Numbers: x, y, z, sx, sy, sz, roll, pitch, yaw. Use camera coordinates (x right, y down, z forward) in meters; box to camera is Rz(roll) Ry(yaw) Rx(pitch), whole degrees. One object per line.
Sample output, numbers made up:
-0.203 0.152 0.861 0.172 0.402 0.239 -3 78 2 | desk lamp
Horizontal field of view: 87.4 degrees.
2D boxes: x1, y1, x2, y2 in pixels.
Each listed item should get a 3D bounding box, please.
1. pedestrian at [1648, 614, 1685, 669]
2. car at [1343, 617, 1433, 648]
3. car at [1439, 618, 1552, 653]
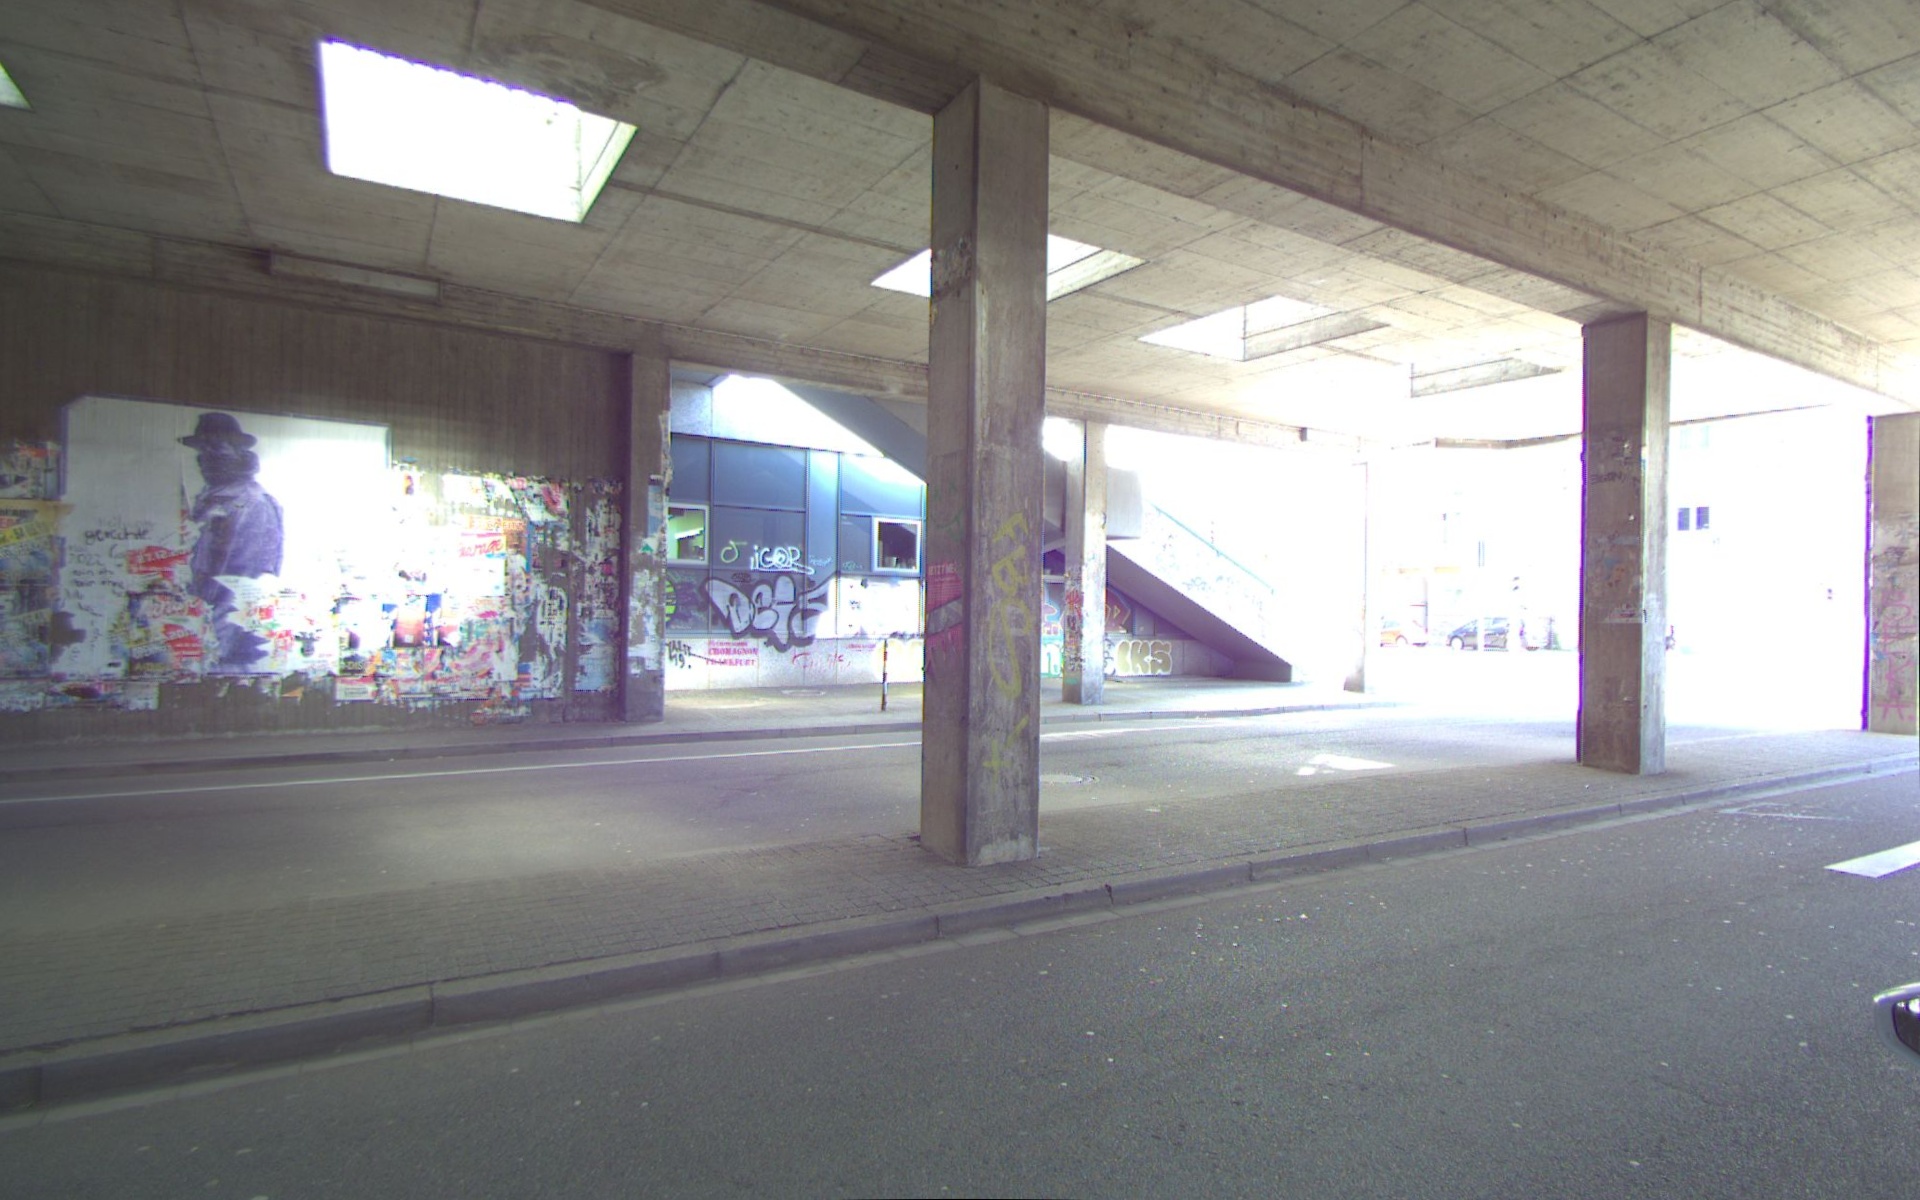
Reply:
21.931 1.288 31.187 0.732 1.659 0.669 2 0 -30 | pedestrian
22.389 1.699 52.707 1.905 1.428 3.965 2 0 -32 | car
25.363 1.661 47.736 1.905 1.428 4.382 2 0 -32 | car
